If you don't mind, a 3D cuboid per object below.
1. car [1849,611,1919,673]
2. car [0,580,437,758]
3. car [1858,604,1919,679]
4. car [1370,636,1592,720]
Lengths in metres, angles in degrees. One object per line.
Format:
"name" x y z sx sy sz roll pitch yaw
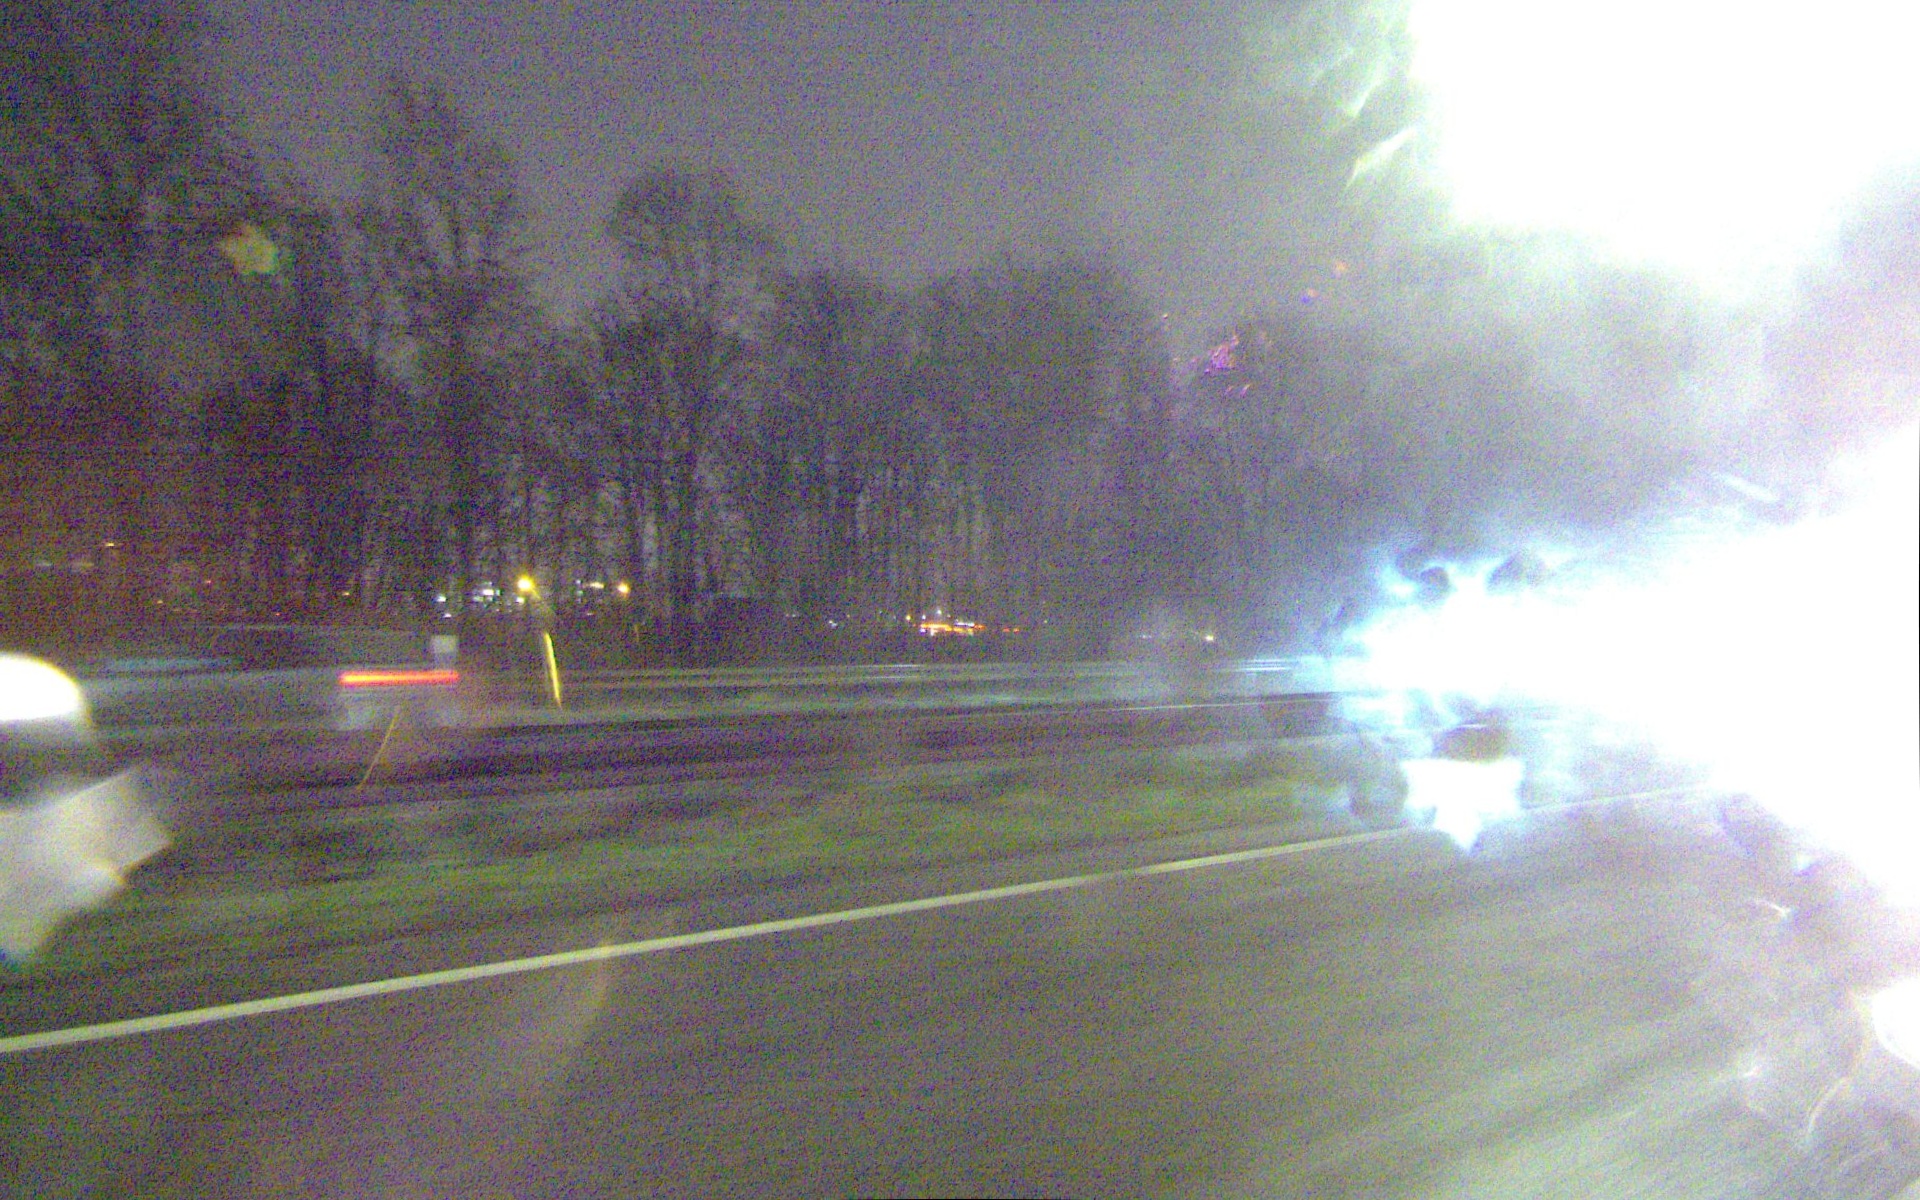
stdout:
"car" 30.729 1.381 32.228 4.652 1.798 1.983 3 1 -31
"car" -7.674 0.683 10.563 3.788 1.572 1.593 3 1 -30
"car" 25.311 1.120 25.823 4.652 1.798 1.983 3 1 -31
"car" 11.462 1.677 22.025 4.840 1.522 2.013 3 1 -30
